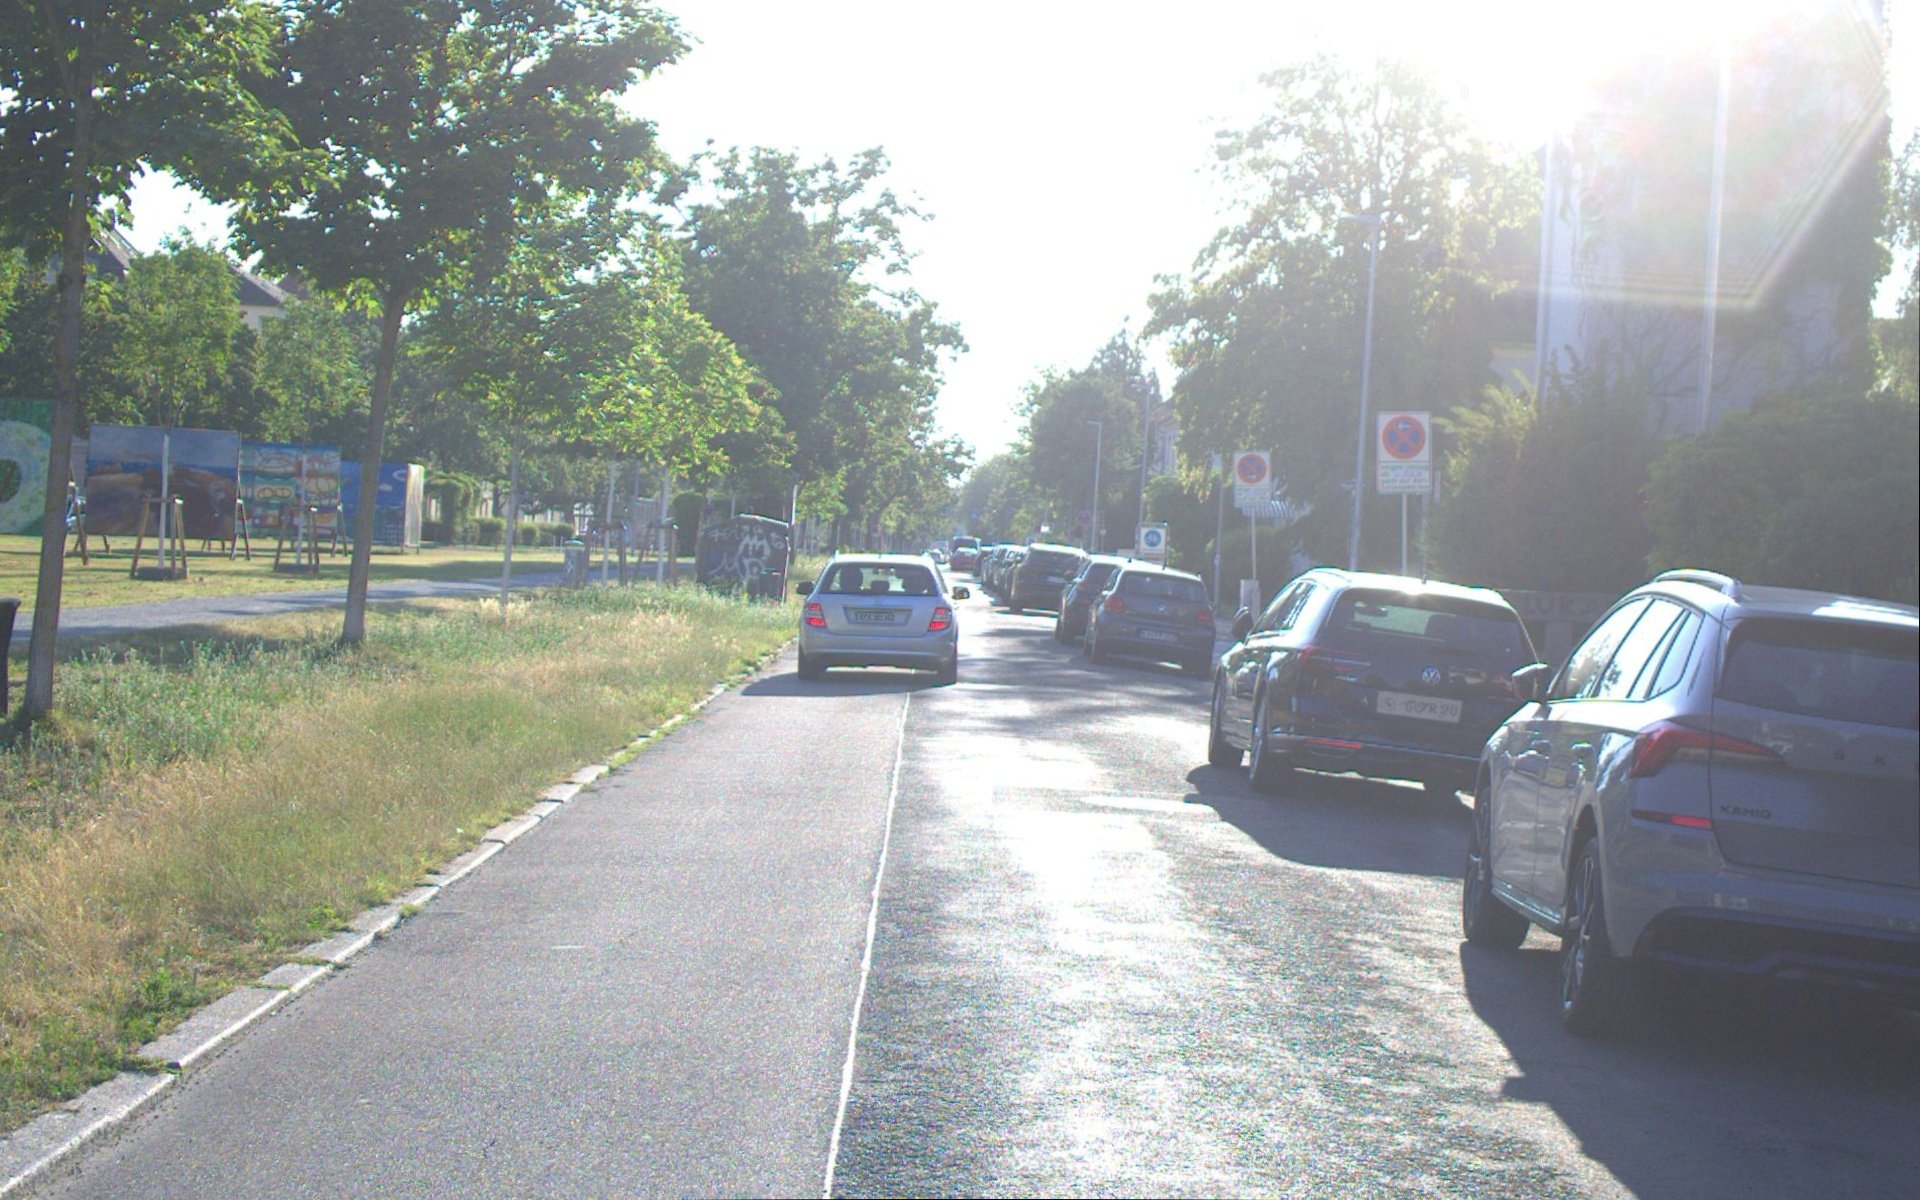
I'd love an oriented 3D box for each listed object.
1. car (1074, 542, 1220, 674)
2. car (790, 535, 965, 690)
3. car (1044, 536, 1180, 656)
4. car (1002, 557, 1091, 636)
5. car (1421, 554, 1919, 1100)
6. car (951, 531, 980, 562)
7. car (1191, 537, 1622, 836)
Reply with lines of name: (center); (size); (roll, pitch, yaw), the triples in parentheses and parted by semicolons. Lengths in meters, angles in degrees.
car: (2.603, 0.072, 48.716); (1.687, 1.522, 4.175); (6, 2, 0)
car: (-0.882, 0.092, 38.707); (1.823, 1.561, 4.000); (1, 2, 0)
car: (2.411, -0.103, 55.698); (1.822, 1.556, 4.622); (8, 2, 0)
car: (2.088, -0.113, 84.109); (1.832, 1.726, 5.032); (5, 1, -1)
car: (2.933, 0.702, 12.426); (1.883, 1.531, 4.462); (6, 1, 1)
car: (0.390, -3.758, 240.564); (1.988, 2.016, 4.000); (3, 1, 0)
car: (2.868, 0.492, 23.236); (1.993, 1.592, 4.887); (7, 1, -1)
